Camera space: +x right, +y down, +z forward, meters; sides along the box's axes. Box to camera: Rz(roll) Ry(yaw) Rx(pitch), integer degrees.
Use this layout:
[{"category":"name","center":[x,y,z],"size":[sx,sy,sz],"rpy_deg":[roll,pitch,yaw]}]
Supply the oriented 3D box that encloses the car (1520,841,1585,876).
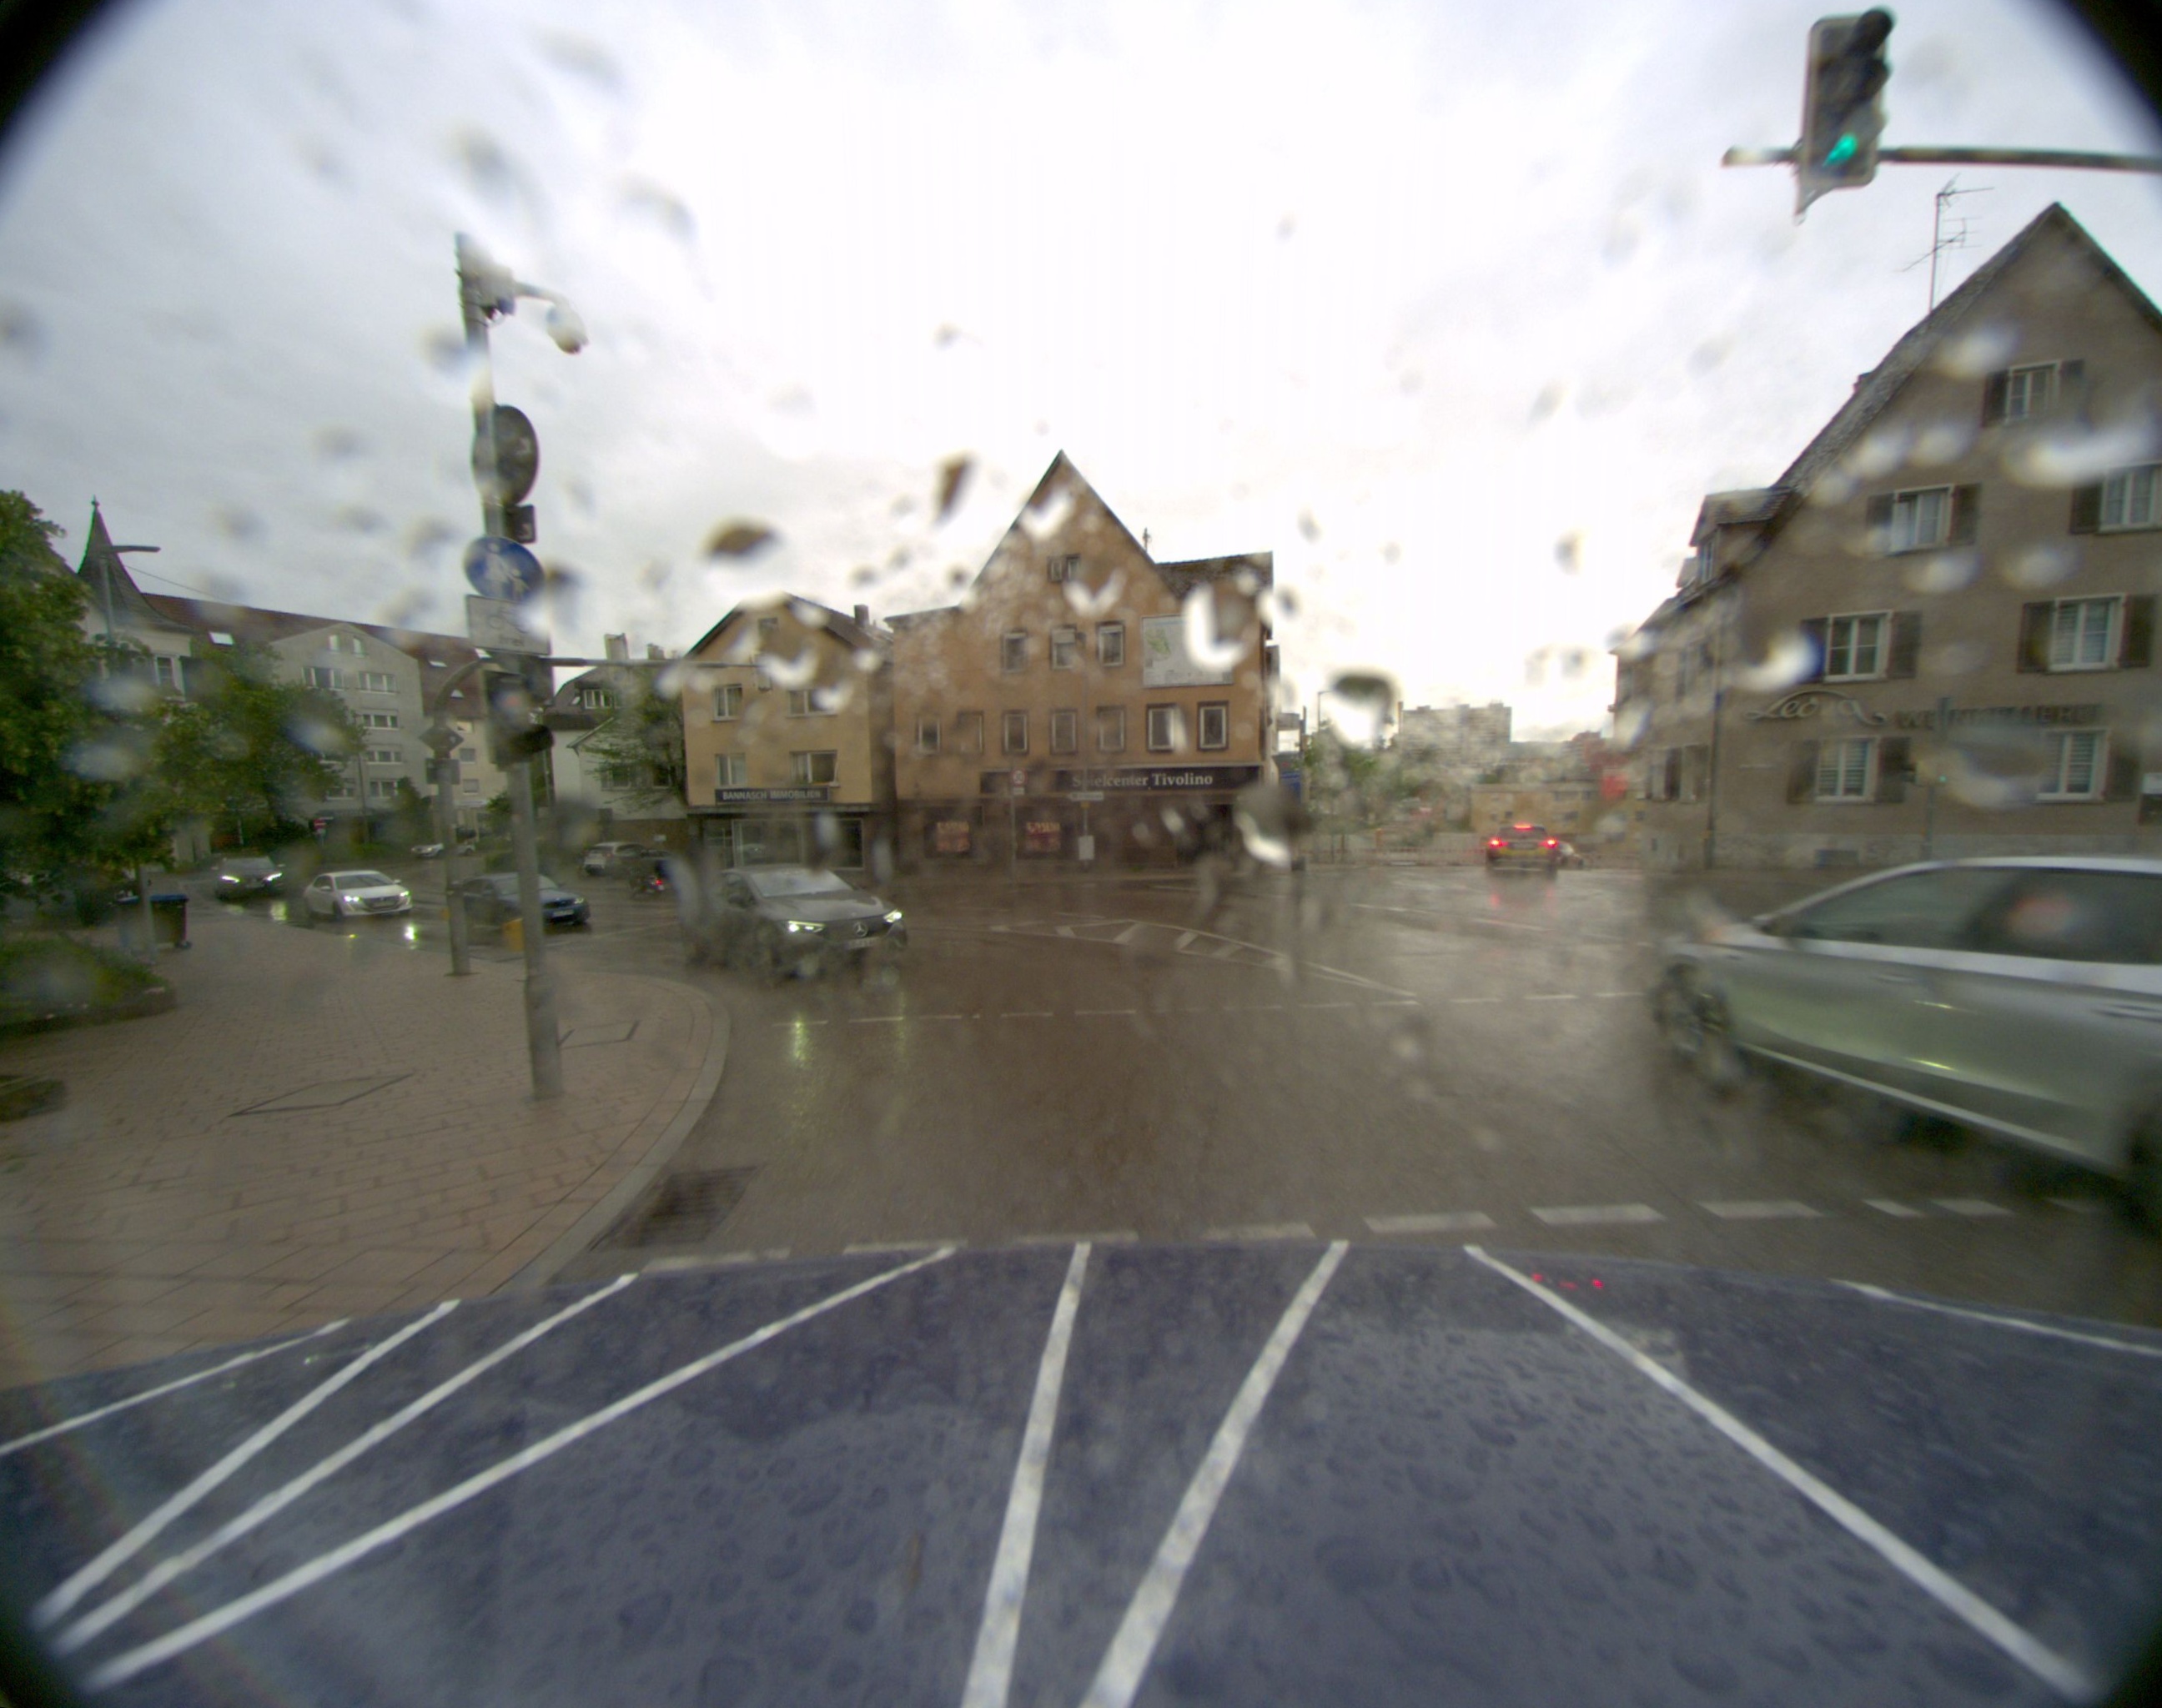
[{"category":"car","center":[21.568,0.174,34.704],"size":[1.994,1.423,4.008],"rpy_deg":[0,1,40]}]

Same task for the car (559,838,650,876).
[{"category":"car","center":[-23.716,0.108,37.992],"size":[1.998,1.621,3.644],"rpy_deg":[-1,4,5]}]

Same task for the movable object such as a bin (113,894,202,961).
[{"category":"movable object such as a bin","center":[-21.453,1.675,17.659],"size":[1.183,1.306,1.160],"rpy_deg":[2,6,37]}]

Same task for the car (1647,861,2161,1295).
[{"category":"car","center":[4.654,0.797,3.381],"size":[1.665,1.419,3.872],"rpy_deg":[-1,0,6]}]

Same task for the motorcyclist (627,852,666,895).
[{"category":"motorcyclist","center":[-14.870,0.659,26.000],"size":[0.666,1.347,0.812],"rpy_deg":[-1,6,27]}]

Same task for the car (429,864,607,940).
[{"category":"car","center":[-14.835,1.192,20.017],"size":[4.366,1.525,1.776],"rpy_deg":[1,8,26]}]

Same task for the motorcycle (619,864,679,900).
[{"category":"motorcycle","center":[-14.797,0.956,26.028],"size":[1.911,1.125,0.772],"rpy_deg":[0,5,27]}]

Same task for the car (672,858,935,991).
[{"category":"car","center":[-4.337,0.967,11.479],"size":[2.003,1.484,4.303],"rpy_deg":[-6,1,-45]}]

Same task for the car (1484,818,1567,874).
[{"category":"car","center":[13.477,-0.270,23.139],"size":[1.995,1.530,4.421],"rpy_deg":[-1,1,30]}]

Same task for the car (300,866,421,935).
[{"category":"car","center":[-23.353,1.431,24.618],"size":[3.987,1.558,1.817],"rpy_deg":[6,7,31]}]

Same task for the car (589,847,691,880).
[{"category":"car","center":[-20.997,0.415,36.374],"size":[1.896,1.445,4.004],"rpy_deg":[-1,1,14]}]
